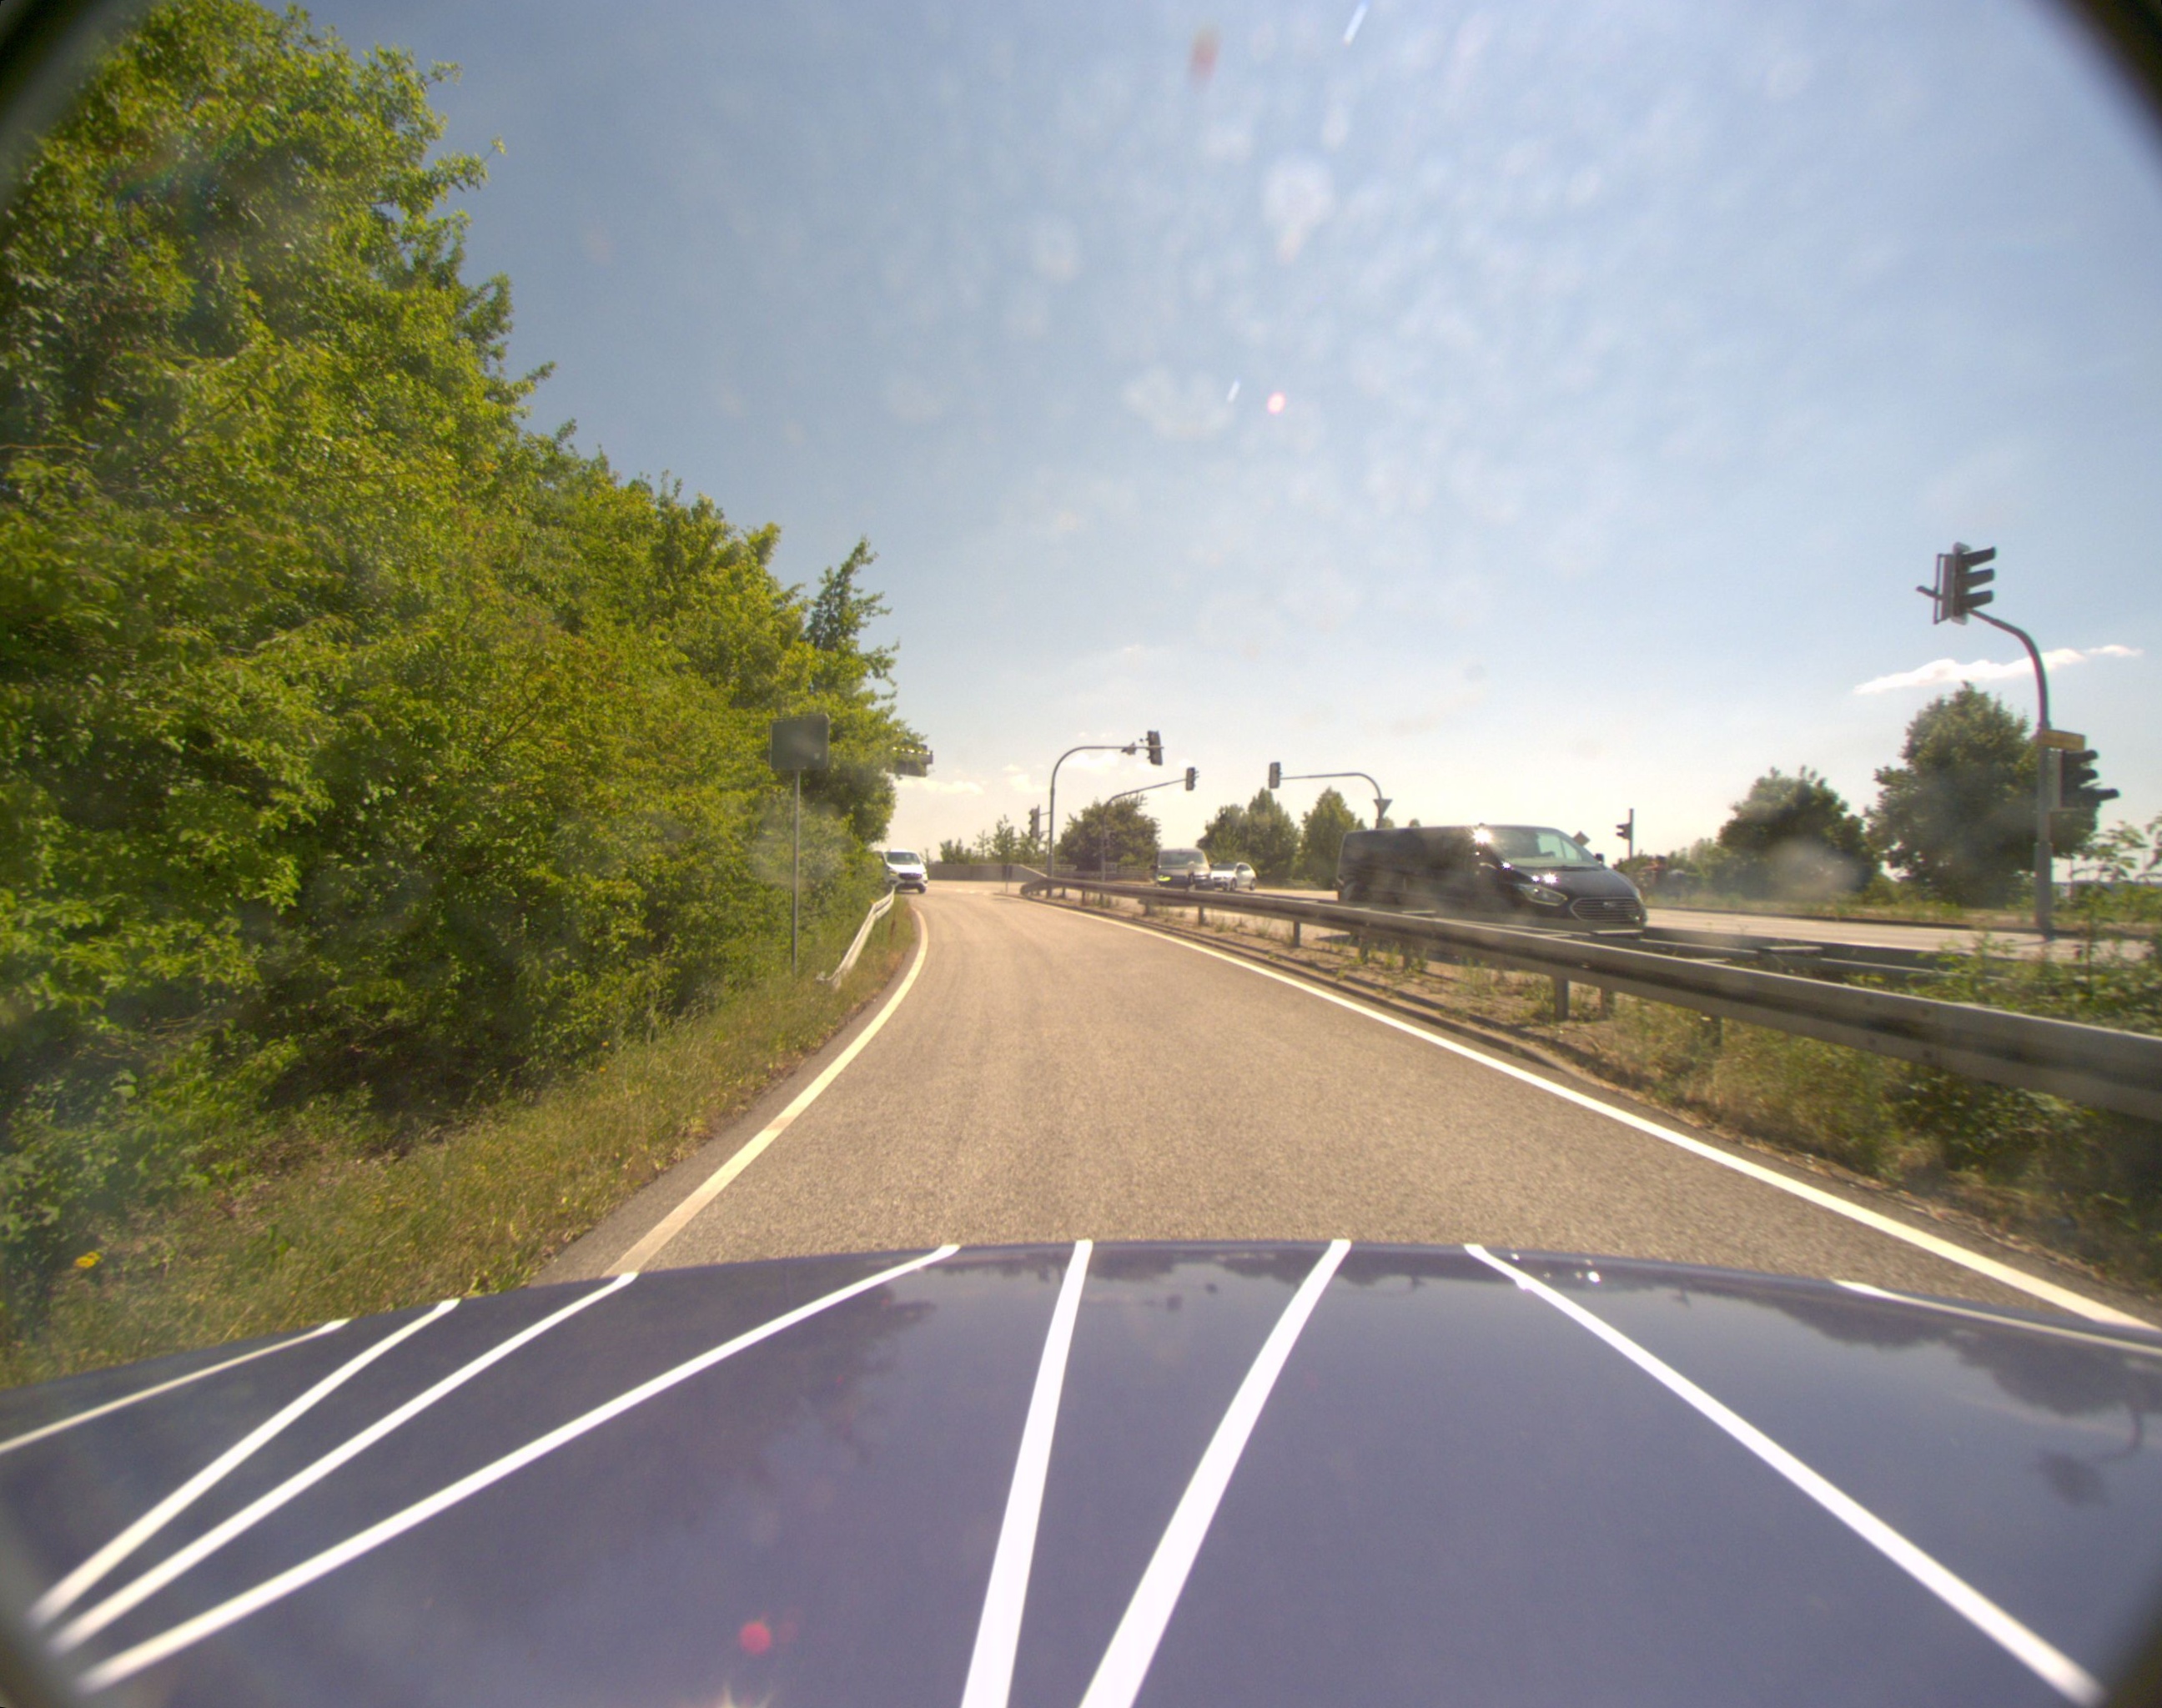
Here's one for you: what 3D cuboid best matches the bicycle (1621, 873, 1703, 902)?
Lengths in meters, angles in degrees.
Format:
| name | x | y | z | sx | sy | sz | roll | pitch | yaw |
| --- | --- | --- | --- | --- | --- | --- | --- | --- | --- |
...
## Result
| name | x | y | z | sx | sy | sz | roll | pitch | yaw |
| --- | --- | --- | --- | --- | --- | --- | --- | --- | --- |
| bicycle | 19.299 | 1.094 | 25.310 | 0.536 | 0.848 | 2.122 | -1 | 0 | -31 |

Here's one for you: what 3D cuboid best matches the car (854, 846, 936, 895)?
| name | x | y | z | sx | sy | sz | roll | pitch | yaw |
| --- | --- | --- | --- | --- | --- | --- | --- | --- | --- |
| car | -8.852 | 0.748 | 35.733 | 2.035 | 2.072 | 5.858 | -2 | 0 | -31 |

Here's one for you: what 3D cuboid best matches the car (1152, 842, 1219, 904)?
| name | x | y | z | sx | sy | sz | roll | pitch | yaw |
| --- | --- | --- | --- | --- | --- | --- | --- | --- | --- |
| car | 3.517 | 0.612 | 26.365 | 1.943 | 1.908 | 4.534 | 2 | 0 | 4 |

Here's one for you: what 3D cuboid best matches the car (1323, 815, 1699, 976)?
| name | x | y | z | sx | sy | sz | roll | pitch | yaw |
| --- | --- | --- | --- | --- | --- | --- | --- | --- | --- |
| car | 6.221 | 0.486 | 12.035 | 2.126 | 1.926 | 5.405 | -1 | 0 | -12 |

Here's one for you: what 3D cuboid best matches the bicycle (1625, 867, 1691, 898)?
| name | x | y | z | sx | sy | sz | roll | pitch | yaw |
| --- | --- | --- | --- | --- | --- | --- | --- | --- | --- |
| bicycle | 20.178 | 0.964 | 26.627 | 0.416 | 1.019 | 1.828 | -1 | 1 | -30 |

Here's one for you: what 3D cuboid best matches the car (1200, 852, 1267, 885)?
| name | x | y | z | sx | sy | sz | roll | pitch | yaw |
| --- | --- | --- | --- | --- | --- | --- | --- | --- | --- |
| car | 7.866 | 0.780 | 39.017 | 1.681 | 1.515 | 4.010 | 2 | -1 | 38 |

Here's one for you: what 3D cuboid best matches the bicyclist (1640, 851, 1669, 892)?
| name | x | y | z | sx | sy | sz | roll | pitch | yaw |
| --- | --- | --- | --- | --- | --- | --- | --- | --- | --- |
| bicyclist | 20.136 | 0.595 | 26.679 | 0.409 | 1.396 | 0.683 | -1 | 1 | -30 |

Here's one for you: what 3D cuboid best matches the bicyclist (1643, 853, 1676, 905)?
| name | x | y | z | sx | sy | sz | roll | pitch | yaw |
| --- | --- | --- | --- | --- | --- | --- | --- | --- | --- |
| bicyclist | 19.269 | 0.815 | 25.327 | 0.532 | 1.708 | 0.729 | -1 | 1 | -31 |
